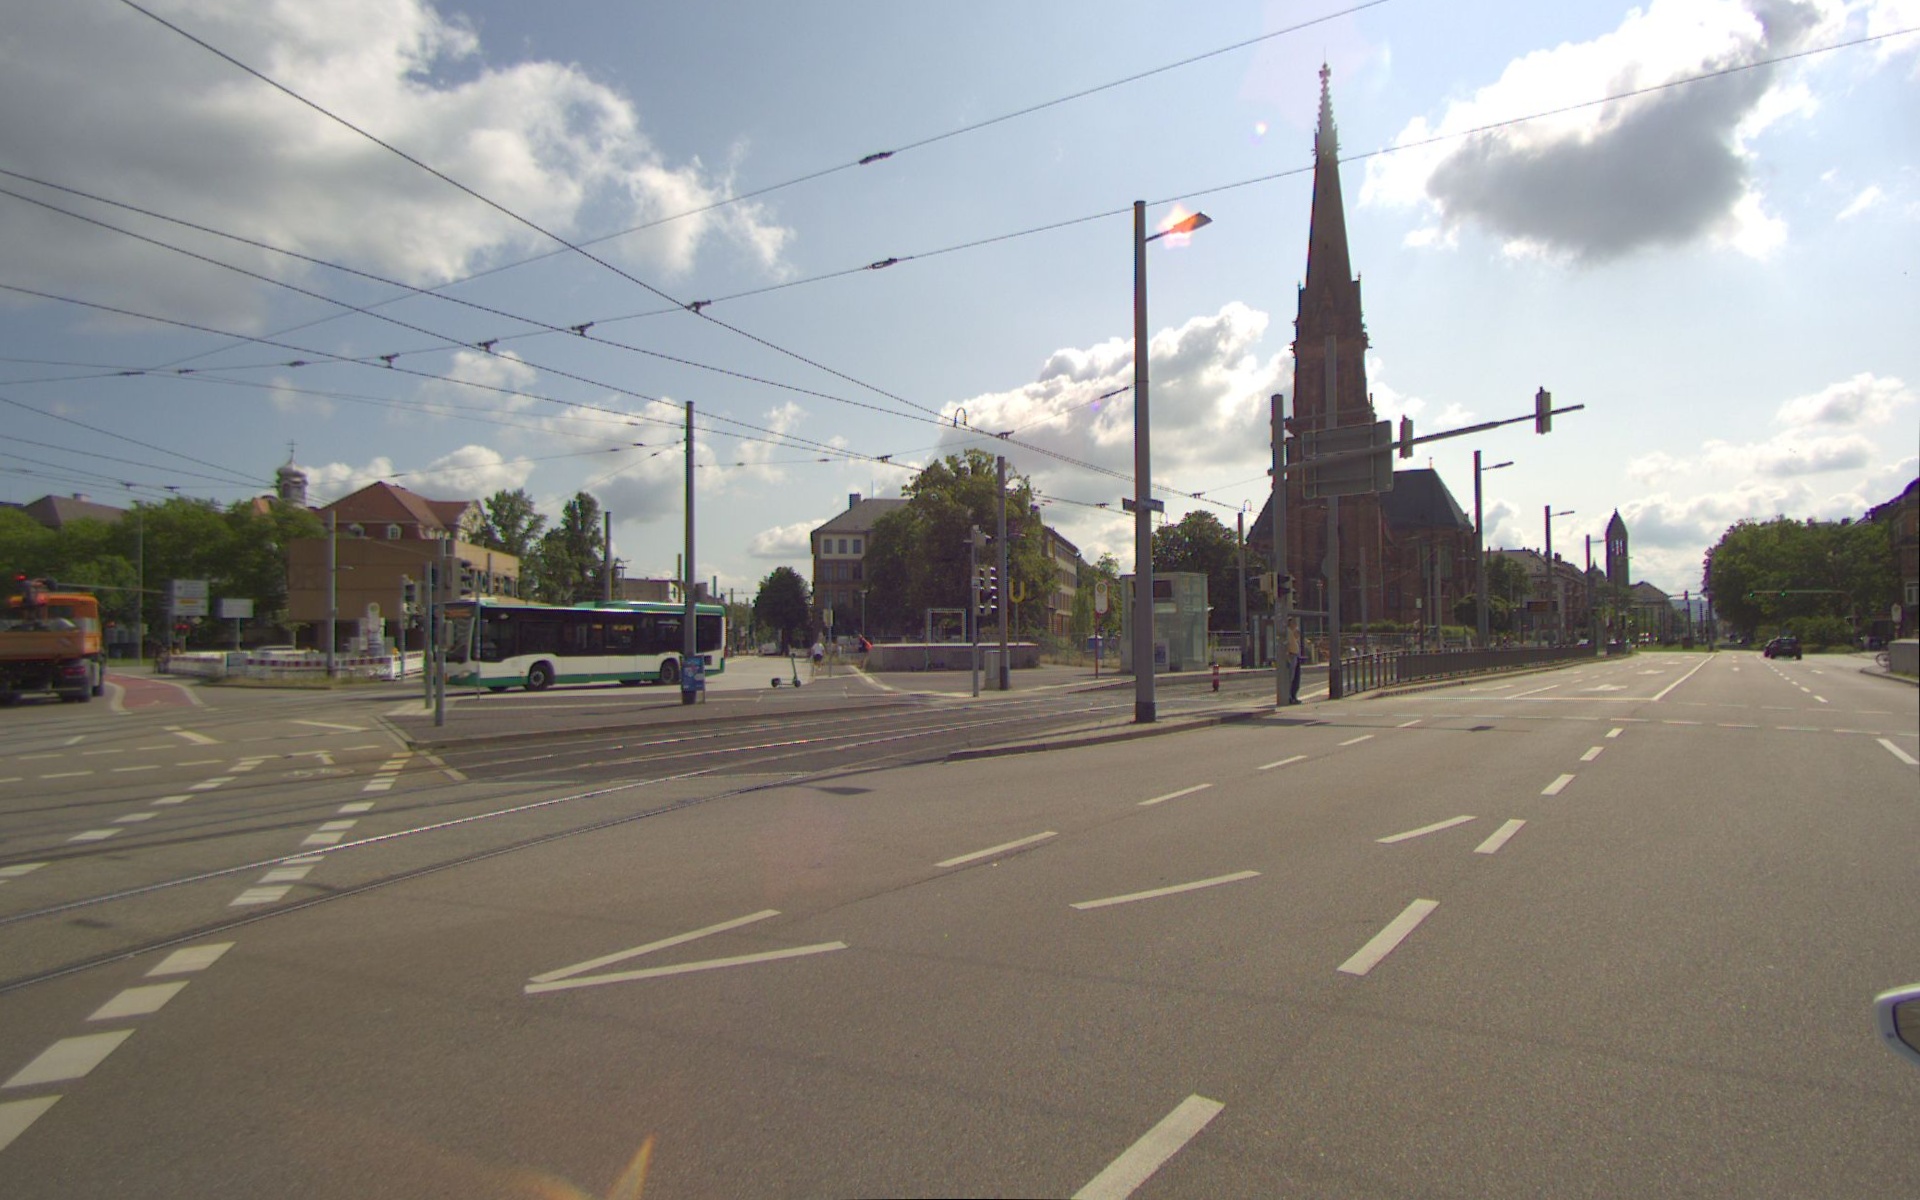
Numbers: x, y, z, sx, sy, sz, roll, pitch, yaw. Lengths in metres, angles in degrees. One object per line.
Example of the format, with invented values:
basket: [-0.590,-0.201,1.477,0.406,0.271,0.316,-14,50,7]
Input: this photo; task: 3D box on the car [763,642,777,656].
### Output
car: [-28.446,7.368,150.671,1.964,2.040,3.994,0,-2,-10]

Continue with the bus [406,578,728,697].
bus: [-13.769,1.412,37.215,2.862,3.667,12.364,-2,-3,27]

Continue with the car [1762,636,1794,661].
car: [62.382,3.700,76.662,1.667,1.734,3.596,-2,-1,36]

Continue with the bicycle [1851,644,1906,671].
bicycle: [44.389,2.769,48.575,1.894,1.254,0.441,-2,-1,25]

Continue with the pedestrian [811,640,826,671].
pedestrian: [-7.990,3.126,56.613,0.768,1.694,0.719,0,-2,-13]

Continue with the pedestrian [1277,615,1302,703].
pedestrian: [7.706,1.370,23.486,0.419,2.040,0.578,-2,-2,26]

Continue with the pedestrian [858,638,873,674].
pedestrian: [-4.818,2.876,51.371,0.707,1.817,0.562,0,-2,-10]

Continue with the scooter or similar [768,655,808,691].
scooter or similar: [-5.910,2.486,34.488,0.798,1.182,1.166,-2,-3,28]

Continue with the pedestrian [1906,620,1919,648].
pedestrian: [65.047,2.317,68.394,0.652,1.928,0.695,-2,-3,20]

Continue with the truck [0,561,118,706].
truck: [-28.773,1.124,31.719,2.810,4.061,7.990,1,-3,-36]

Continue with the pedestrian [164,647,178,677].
pedestrian: [-48.319,3.779,61.530,0.647,1.787,0.991,1,-2,-37]

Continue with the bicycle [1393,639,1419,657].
bicycle: [36.296,3.903,81.663,1.178,1.445,3.681,-2,-3,36]

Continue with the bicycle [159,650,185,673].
bicycle: [-48.944,3.809,62.393,2.263,1.429,0.967,-3,-3,45]

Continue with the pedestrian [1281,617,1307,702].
pedestrian: [8.111,1.438,24.364,0.494,2.040,0.515,-2,-2,26]

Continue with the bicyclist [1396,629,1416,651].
bicyclist: [36.261,3.262,81.638,1.162,1.706,1.679,-2,-3,36]

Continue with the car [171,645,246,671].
car: [-55.273,4.224,73.967,3.934,1.806,1.994,0,-2,-16]

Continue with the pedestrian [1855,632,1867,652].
pedestrian: [94.301,4.377,105.134,0.758,2.040,0.712,-3,-3,39]
